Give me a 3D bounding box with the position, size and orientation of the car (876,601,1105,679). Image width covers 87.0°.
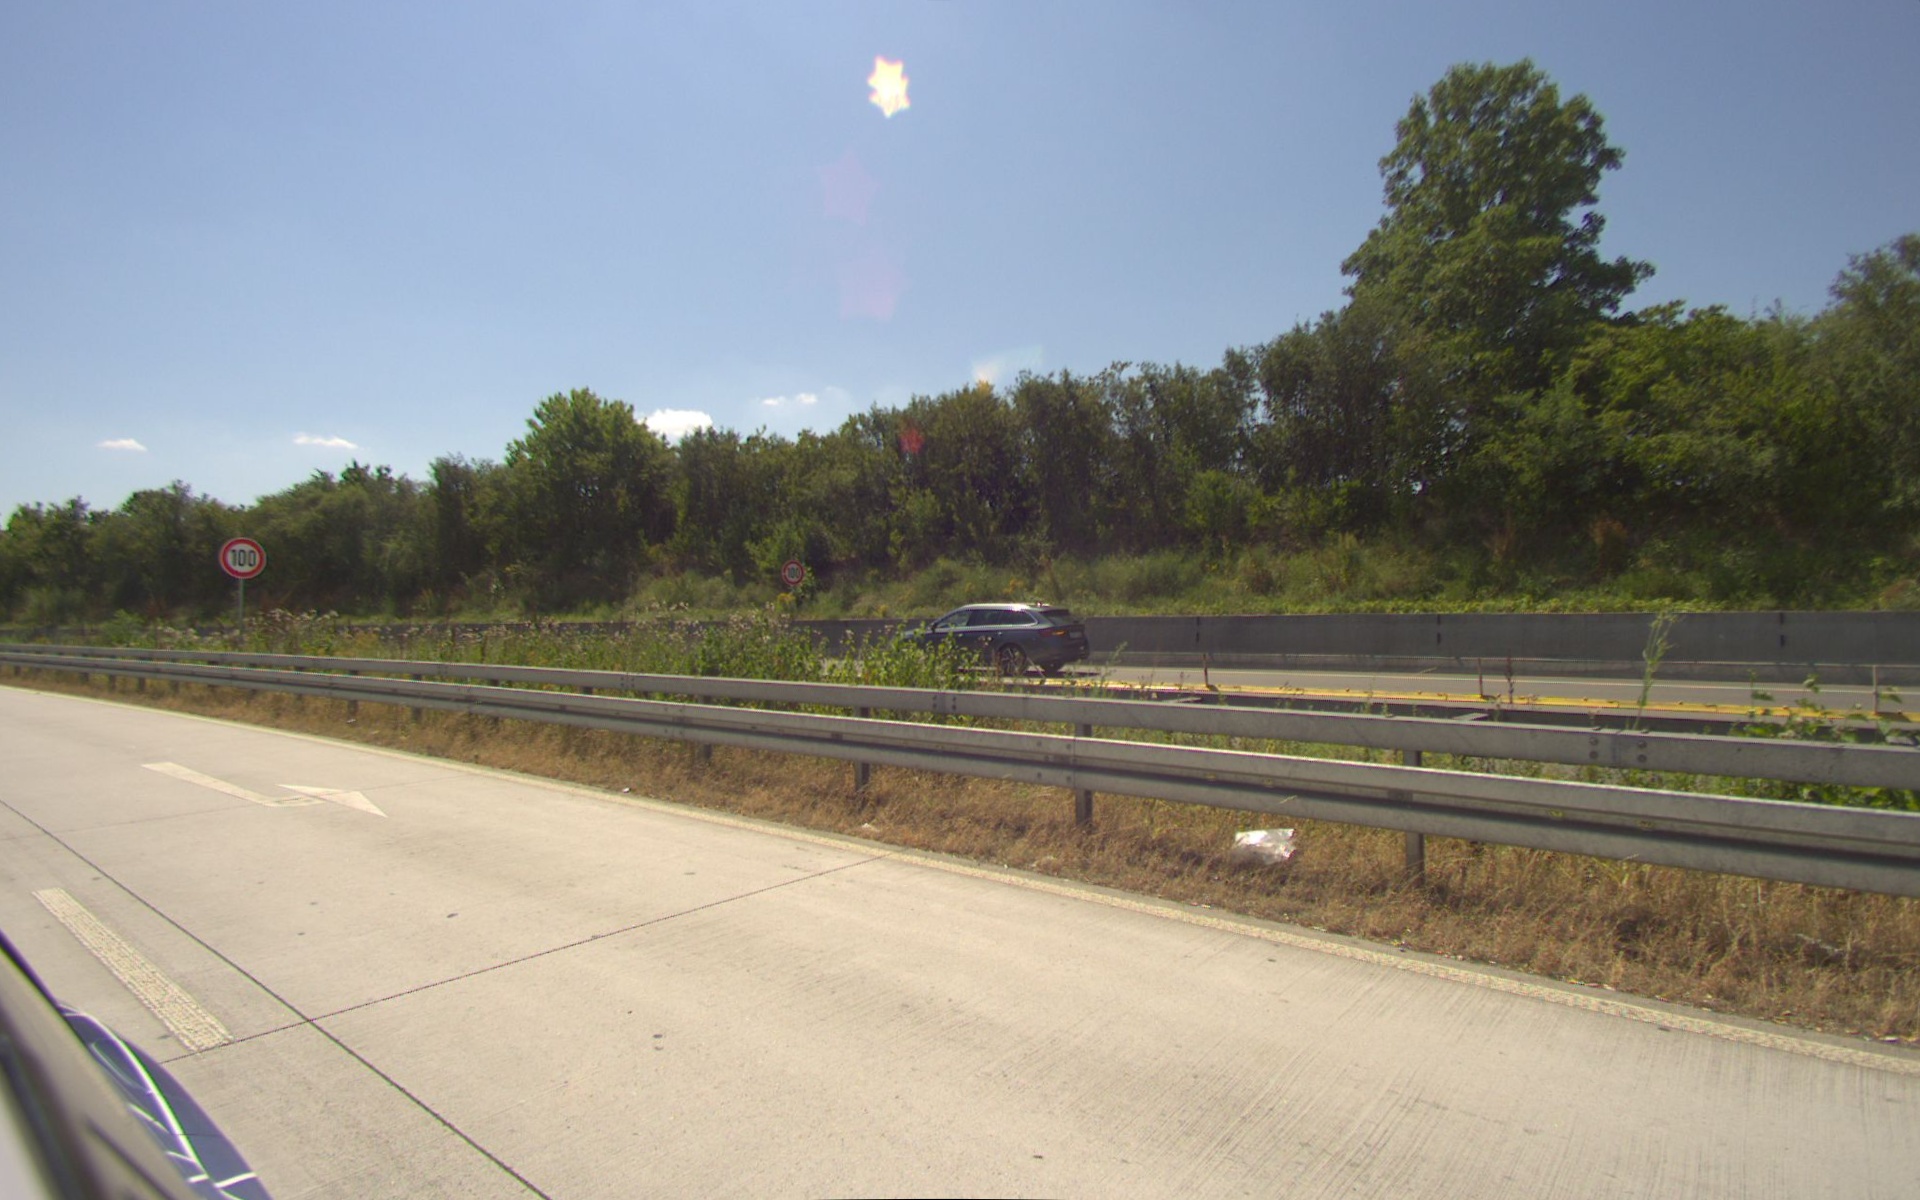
[{"bbox_3d":[0.574,0.787,21.396,4.592,1.458,1.856,-1,0,35],"label":"car"}]
